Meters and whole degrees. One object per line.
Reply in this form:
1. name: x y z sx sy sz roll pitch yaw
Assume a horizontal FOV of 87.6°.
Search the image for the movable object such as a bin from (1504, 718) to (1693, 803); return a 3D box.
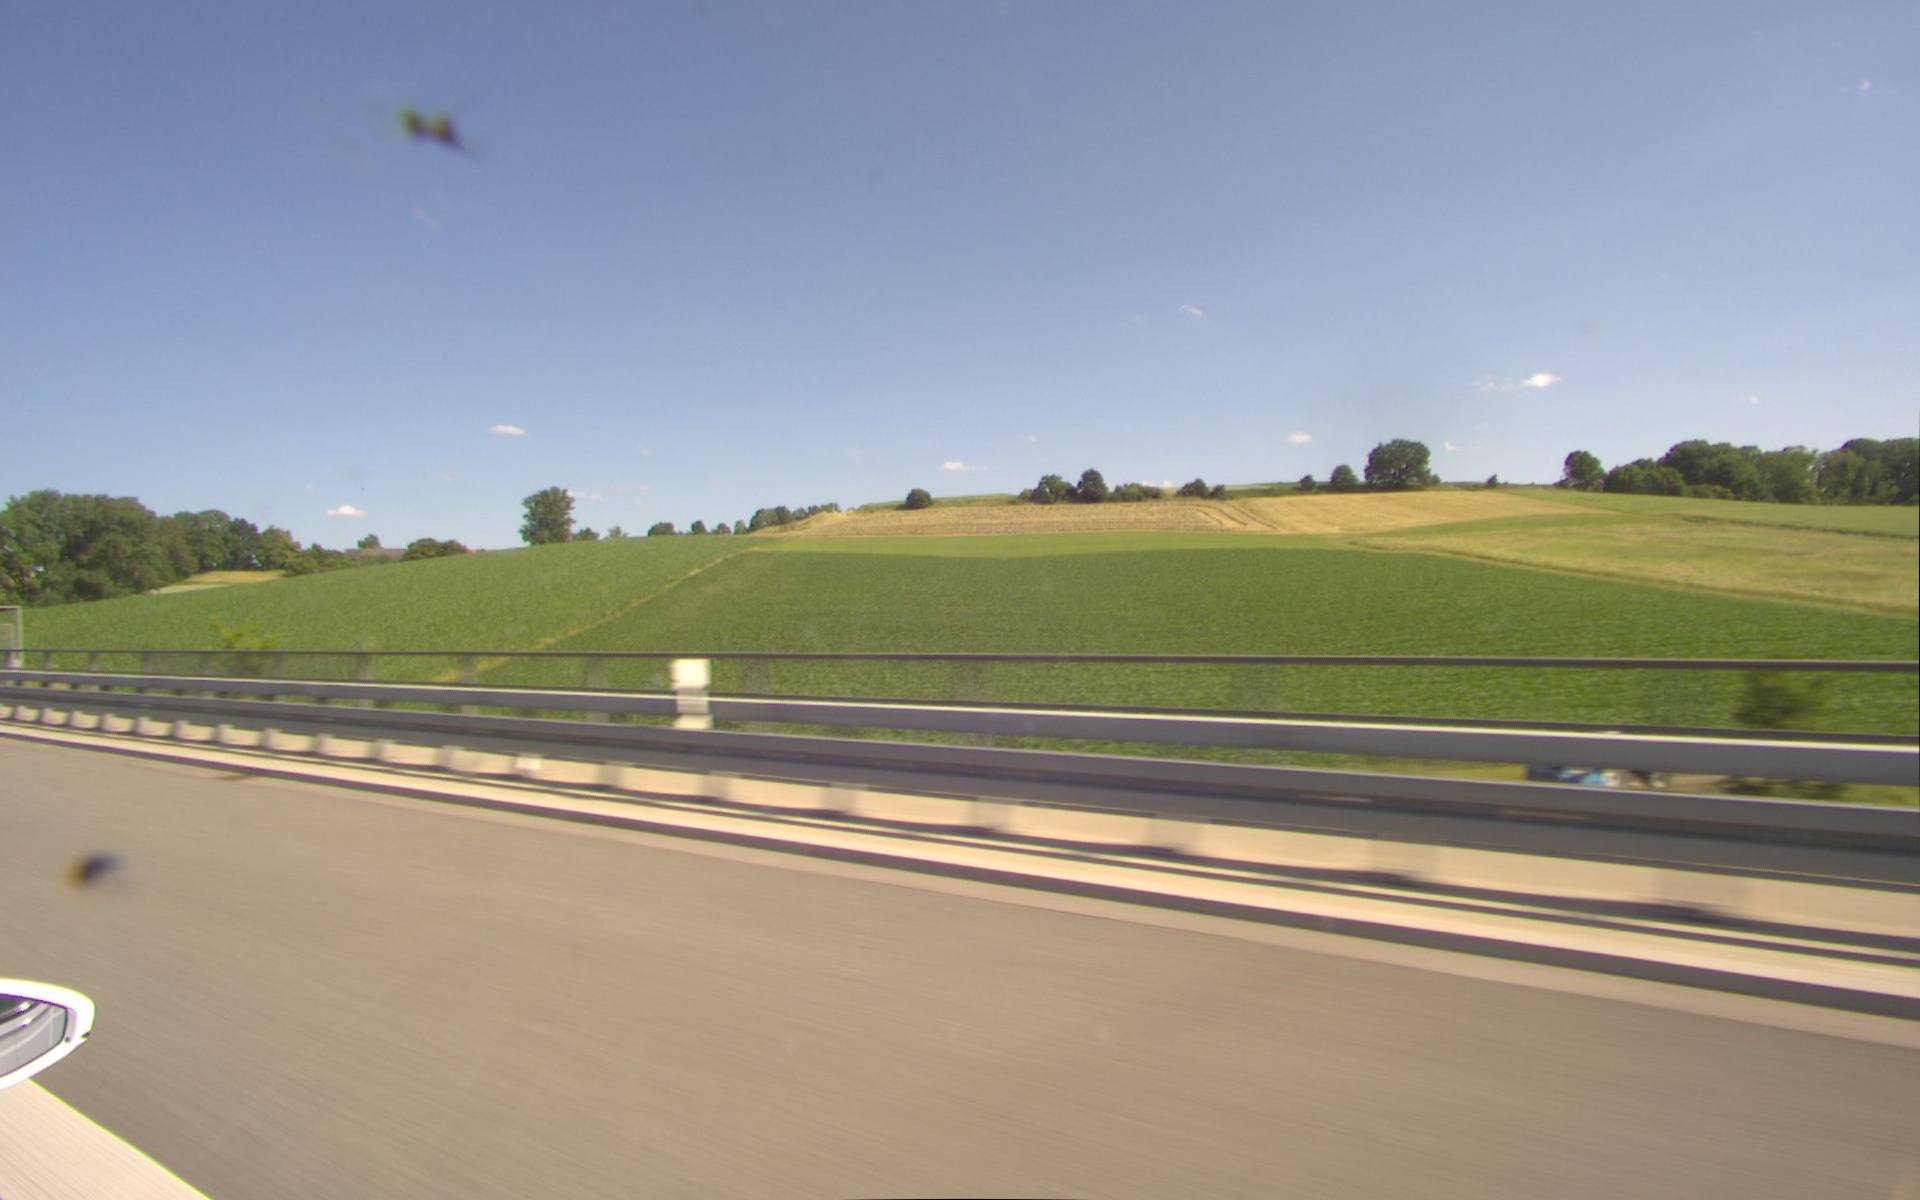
1. movable object such as a bin: 25.895 6.409 40.707 6.124 2.805 3.282 0 -3 -19
